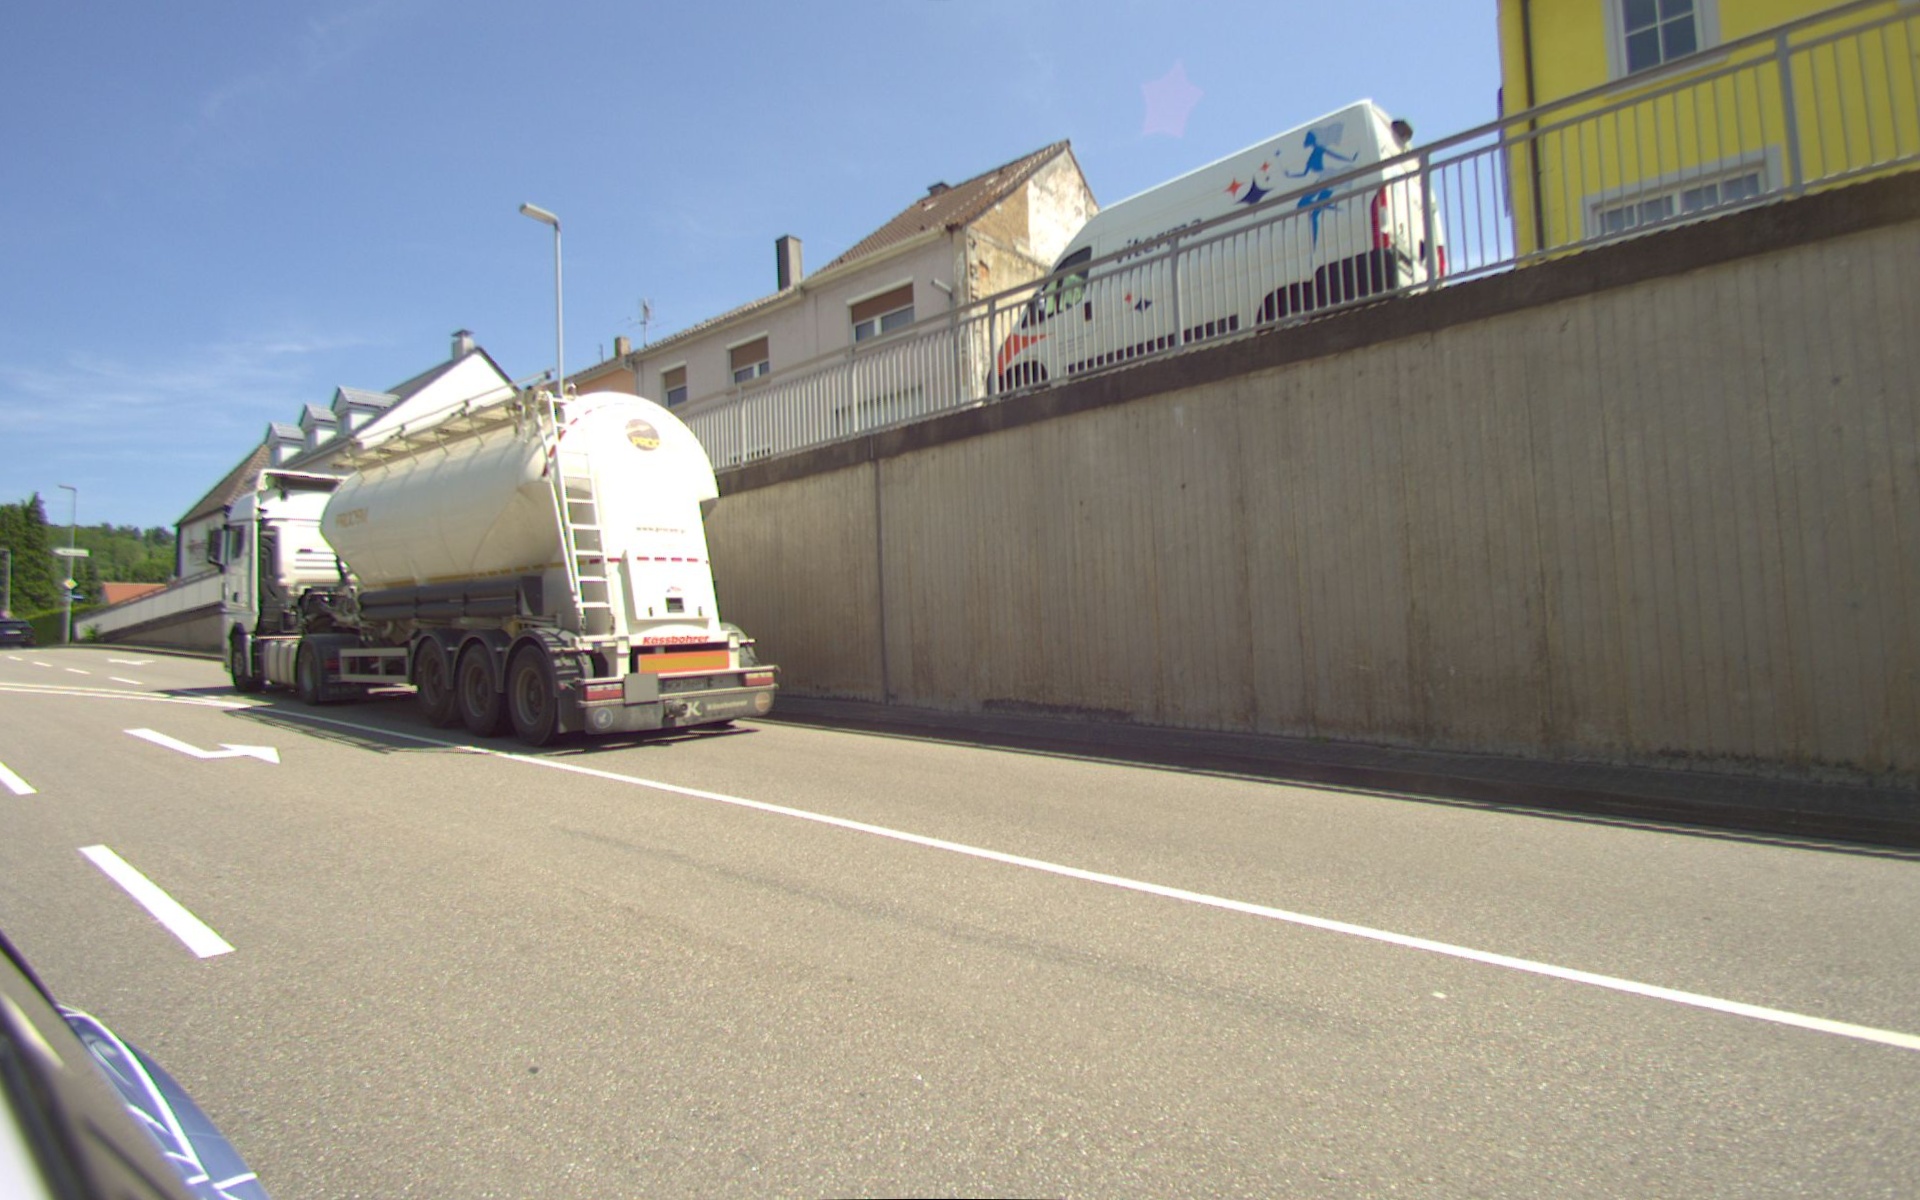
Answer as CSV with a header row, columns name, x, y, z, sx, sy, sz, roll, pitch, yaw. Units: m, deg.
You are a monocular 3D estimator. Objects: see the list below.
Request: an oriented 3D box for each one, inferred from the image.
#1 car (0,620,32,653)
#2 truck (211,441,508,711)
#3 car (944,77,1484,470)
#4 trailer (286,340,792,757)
name,x,y,z,sx,sy,sz,roll,pitch,yaw
car,-45.155,1.705,47.684,4.367,1.500,1.742,-1,-1,42
truck,-10.713,-0.309,17.767,6.578,3.890,2.634,-1,-1,42
car,2.676,-3.315,11.807,5.656,2.556,2.044,-5,-3,40
trailer,-6.269,-0.444,13.771,9.343,3.994,2.582,-1,-1,42
